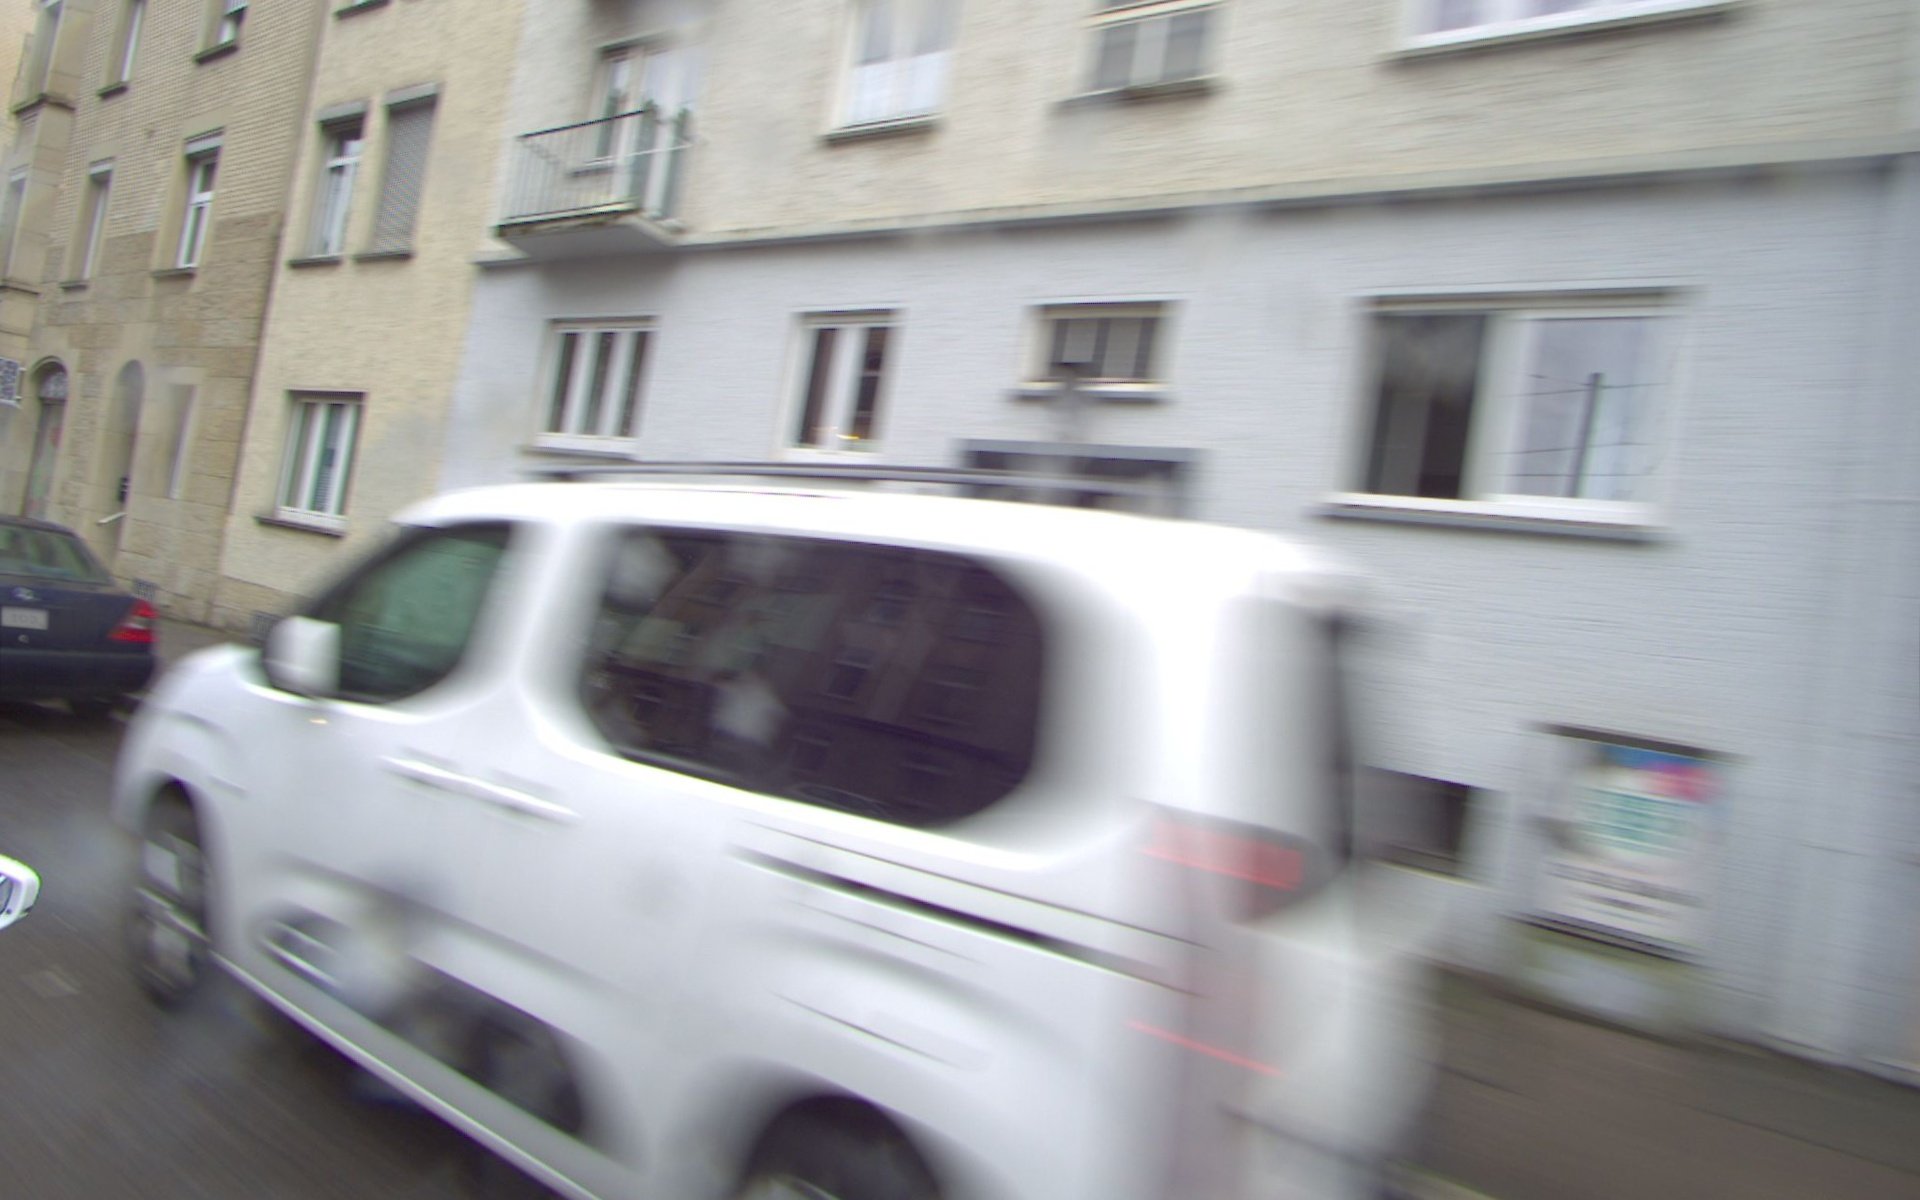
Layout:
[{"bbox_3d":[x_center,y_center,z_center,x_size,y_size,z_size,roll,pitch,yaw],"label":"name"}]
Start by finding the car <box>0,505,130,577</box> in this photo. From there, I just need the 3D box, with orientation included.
[{"bbox_3d":[-25.552,-1.736,27.208,1.861,1.549,4.343,7,-2,33],"label":"car"}]

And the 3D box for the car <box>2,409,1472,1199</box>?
[{"bbox_3d":[-0.992,0.523,3.218,4.393,1.770,1.832,7,-2,32],"label":"car"}]

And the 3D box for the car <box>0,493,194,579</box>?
[{"bbox_3d":[-21.192,-1.569,23.787,1.834,1.502,4.455,8,-1,34],"label":"car"}]

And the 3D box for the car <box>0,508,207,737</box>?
[{"bbox_3d":[-7.577,-0.069,7.301,4.387,1.361,1.722,7,-3,31],"label":"car"}]
